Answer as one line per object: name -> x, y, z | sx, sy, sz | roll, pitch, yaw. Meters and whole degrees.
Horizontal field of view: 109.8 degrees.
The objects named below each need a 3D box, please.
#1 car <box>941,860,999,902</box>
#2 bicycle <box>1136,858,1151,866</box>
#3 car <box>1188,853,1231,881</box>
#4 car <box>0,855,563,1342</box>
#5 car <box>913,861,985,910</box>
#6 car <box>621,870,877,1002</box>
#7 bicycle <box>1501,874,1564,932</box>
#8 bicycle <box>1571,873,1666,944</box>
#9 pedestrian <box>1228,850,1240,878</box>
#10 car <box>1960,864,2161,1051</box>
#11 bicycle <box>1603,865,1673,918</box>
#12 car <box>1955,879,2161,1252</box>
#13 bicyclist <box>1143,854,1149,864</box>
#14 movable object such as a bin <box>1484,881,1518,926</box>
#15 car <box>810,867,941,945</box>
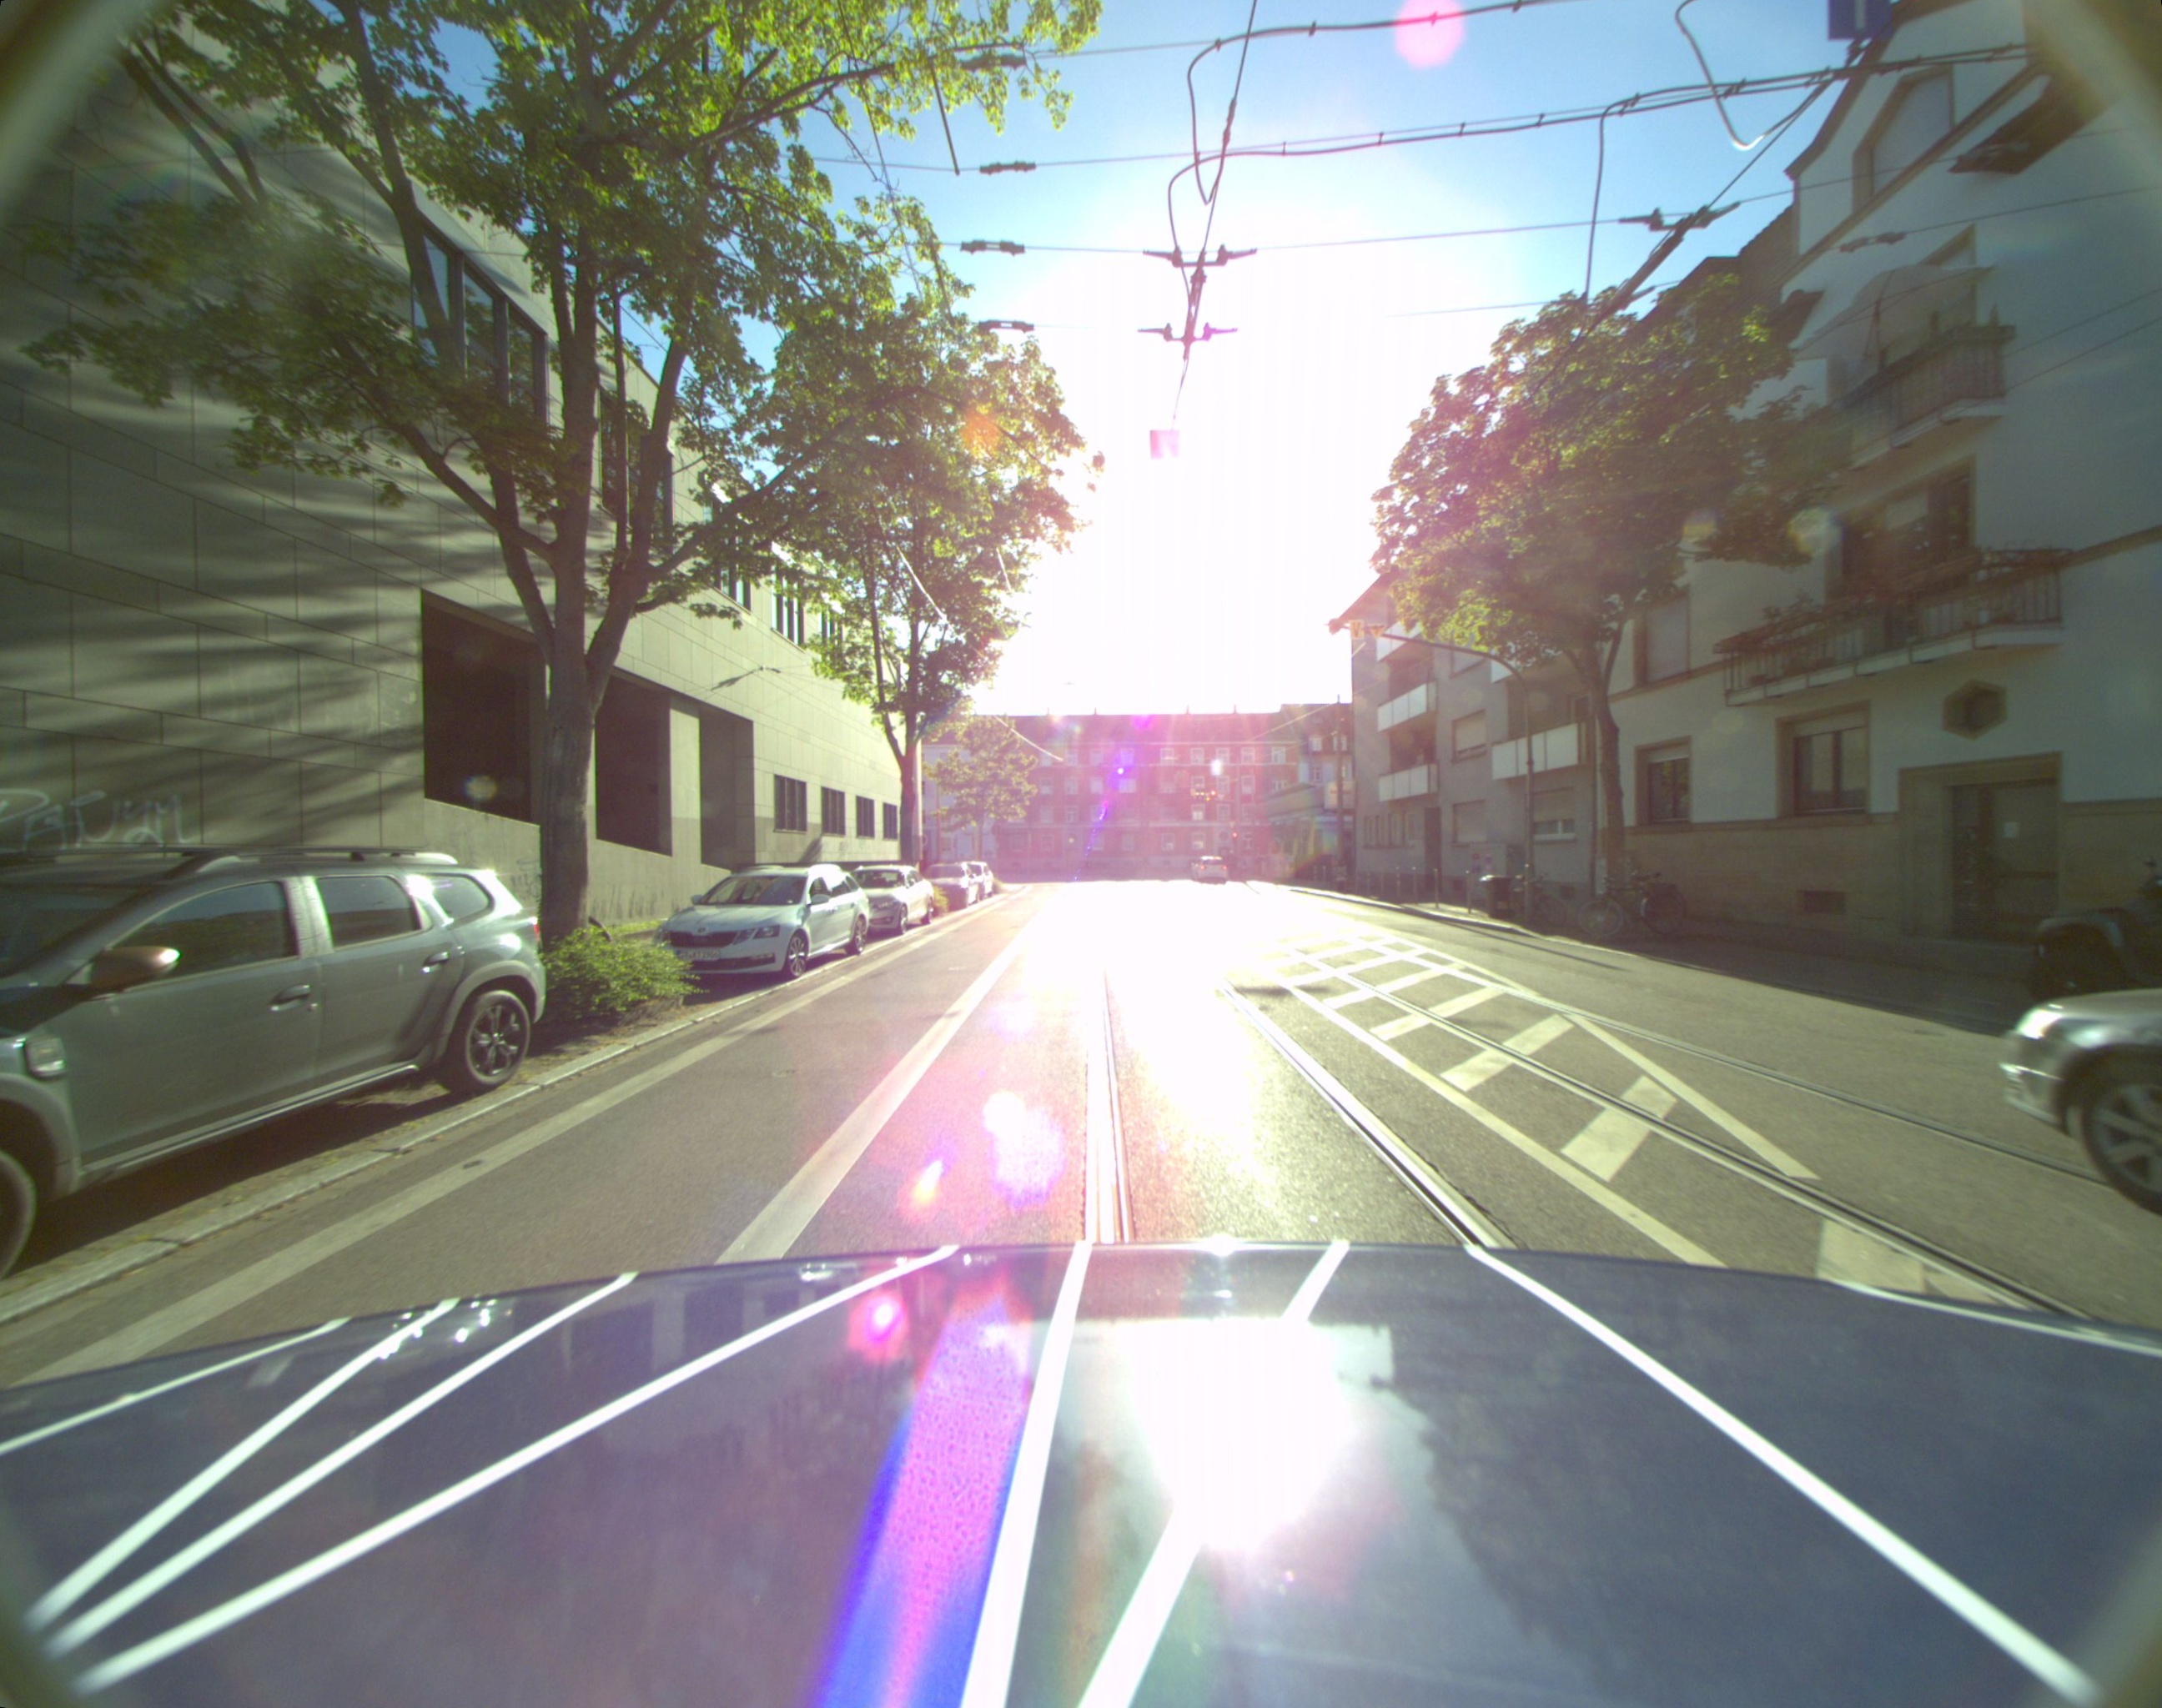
car -> -4.492, 1.066, 31.221 | 1.654, 1.471, 4.000 | -2, 1, 1
bicycle -> 7.239, 0.937, 87.863 | 1.676, 0.943, 0.554 | -2, 1, 0
car -> 7.672, 0.748, 45.551 | 1.923, 1.516, 4.000 | -2, 1, 1
car -> -4.767, 0.900, 3.589 | 1.746, 1.702, 4.276 | -1, 1, -2
car -> -4.395, 1.003, 25.853 | 1.682, 1.399, 4.660 | 1, 1, -1
car -> -4.532, 1.017, 11.253 | 1.716, 1.481, 4.623 | 0, 0, 1
bicycle -> 9.154, 0.968, 15.466 | 0.303, 1.036, 1.661 | -2, 1, 1
bicycle -> 9.407, 0.948, 13.316 | 1.344, 1.163, 0.409 | -2, 1, 2
pedestrian -> 9.833, 0.661, 48.797 | 0.640, 1.764, 0.583 | -2, 1, 1
car -> 9.425, 0.831, 6.260 | 1.358, 1.493, 2.548 | -2, -2, 1
bicycle -> 12.026, 0.777, 16.461 | 0.303, 1.036, 1.661 | -2, 1, 1
car -> 5.023, 0.877, 1.360 | 1.769, 1.455, 4.749 | 0, 1, 6
bicyclist -> 7.489, 0.578, 87.852 | 0.668, 1.217, 0.554 | -2, 1, 0
movable object such as a bin -> 9.252, 1.081, 16.738 | 0.425, 0.930, 0.582 | -2, 1, 1
car -> -4.449, 1.058, 17.100 | 1.713, 1.399, 4.328 | 0, 1, 1
